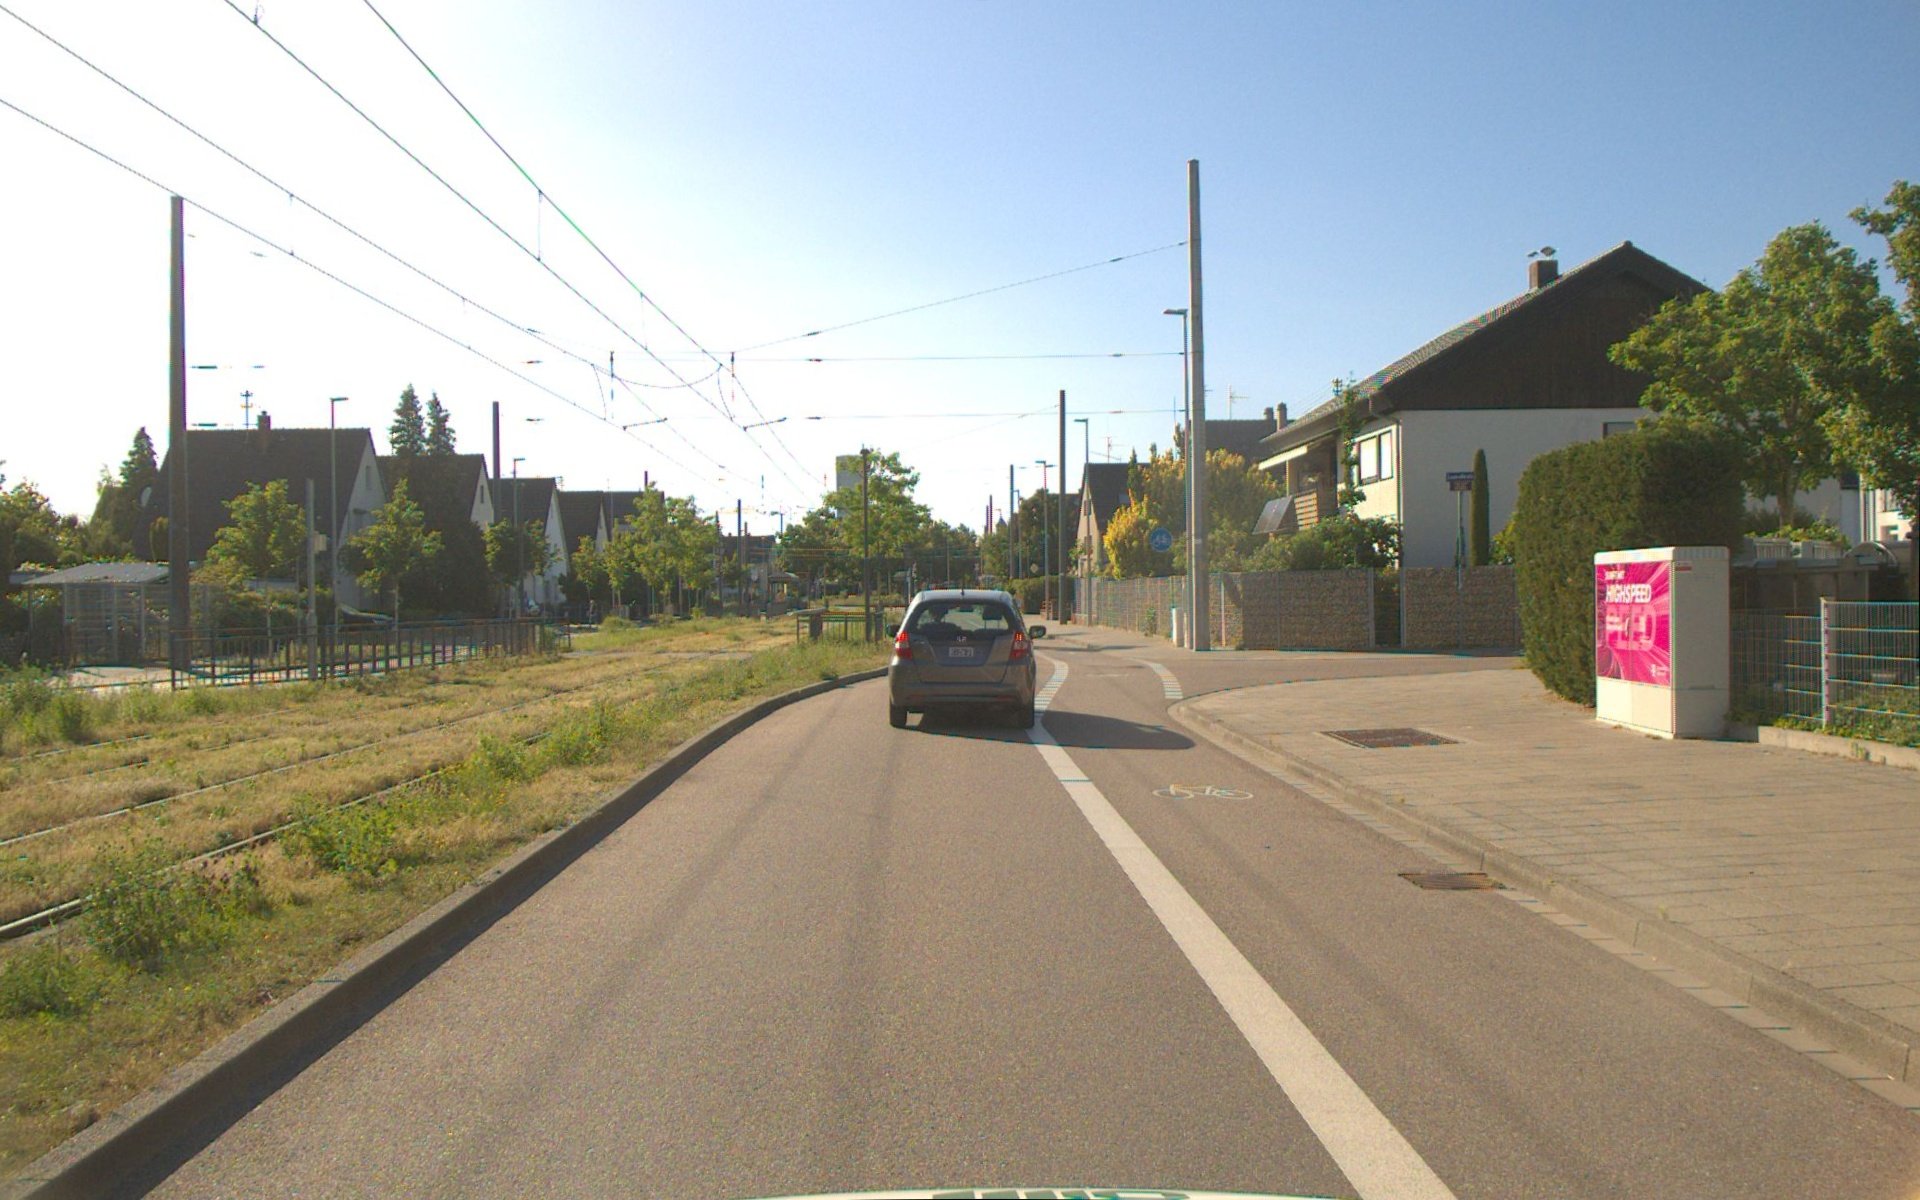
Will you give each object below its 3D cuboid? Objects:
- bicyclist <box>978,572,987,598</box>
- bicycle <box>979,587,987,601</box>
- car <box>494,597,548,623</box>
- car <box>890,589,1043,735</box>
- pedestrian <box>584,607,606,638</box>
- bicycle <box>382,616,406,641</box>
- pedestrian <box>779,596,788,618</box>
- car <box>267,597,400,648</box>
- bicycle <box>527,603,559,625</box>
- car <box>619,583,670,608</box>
[{"bbox_3d":[1.517,-1.016,111.632,0.586,1.731,0.683,0,-1,-1],"label":"bicyclist"},{"bbox_3d":[1.543,-0.404,111.811,0.465,0.978,1.656,0,0,-1],"label":"bicycle"},{"bbox_3d":[-25.783,0.579,97.264,1.895,1.475,5.161,-1,0,-1],"label":"car"},{"bbox_3d":[-0.001,0.659,19.603,1.637,1.562,3.485,0,0,-3],"label":"car"},{"bbox_3d":[-20.488,1.269,92.864,0.945,1.669,1.085,-1,0,-1],"label":"pedestrian"},{"bbox_3d":[-23.055,1.145,67.364,0.414,0.958,1.748,-1,0,-1],"label":"bicycle"},{"bbox_3d":[-13.079,0.512,122.747,0.662,1.562,0.748,-1,0,-6],"label":"pedestrian"},{"bbox_3d":[-23.852,0.844,63.151,4.462,1.765,2.046,-2,0,-13],"label":"car"},{"bbox_3d":[-27.440,0.899,108.917,1.951,1.389,0.704,-1,0,-8],"label":"bicycle"},{"bbox_3d":[-25.371,-0.366,133.020,3.913,2.004,1.929,0,-1,-9],"label":"car"}]
